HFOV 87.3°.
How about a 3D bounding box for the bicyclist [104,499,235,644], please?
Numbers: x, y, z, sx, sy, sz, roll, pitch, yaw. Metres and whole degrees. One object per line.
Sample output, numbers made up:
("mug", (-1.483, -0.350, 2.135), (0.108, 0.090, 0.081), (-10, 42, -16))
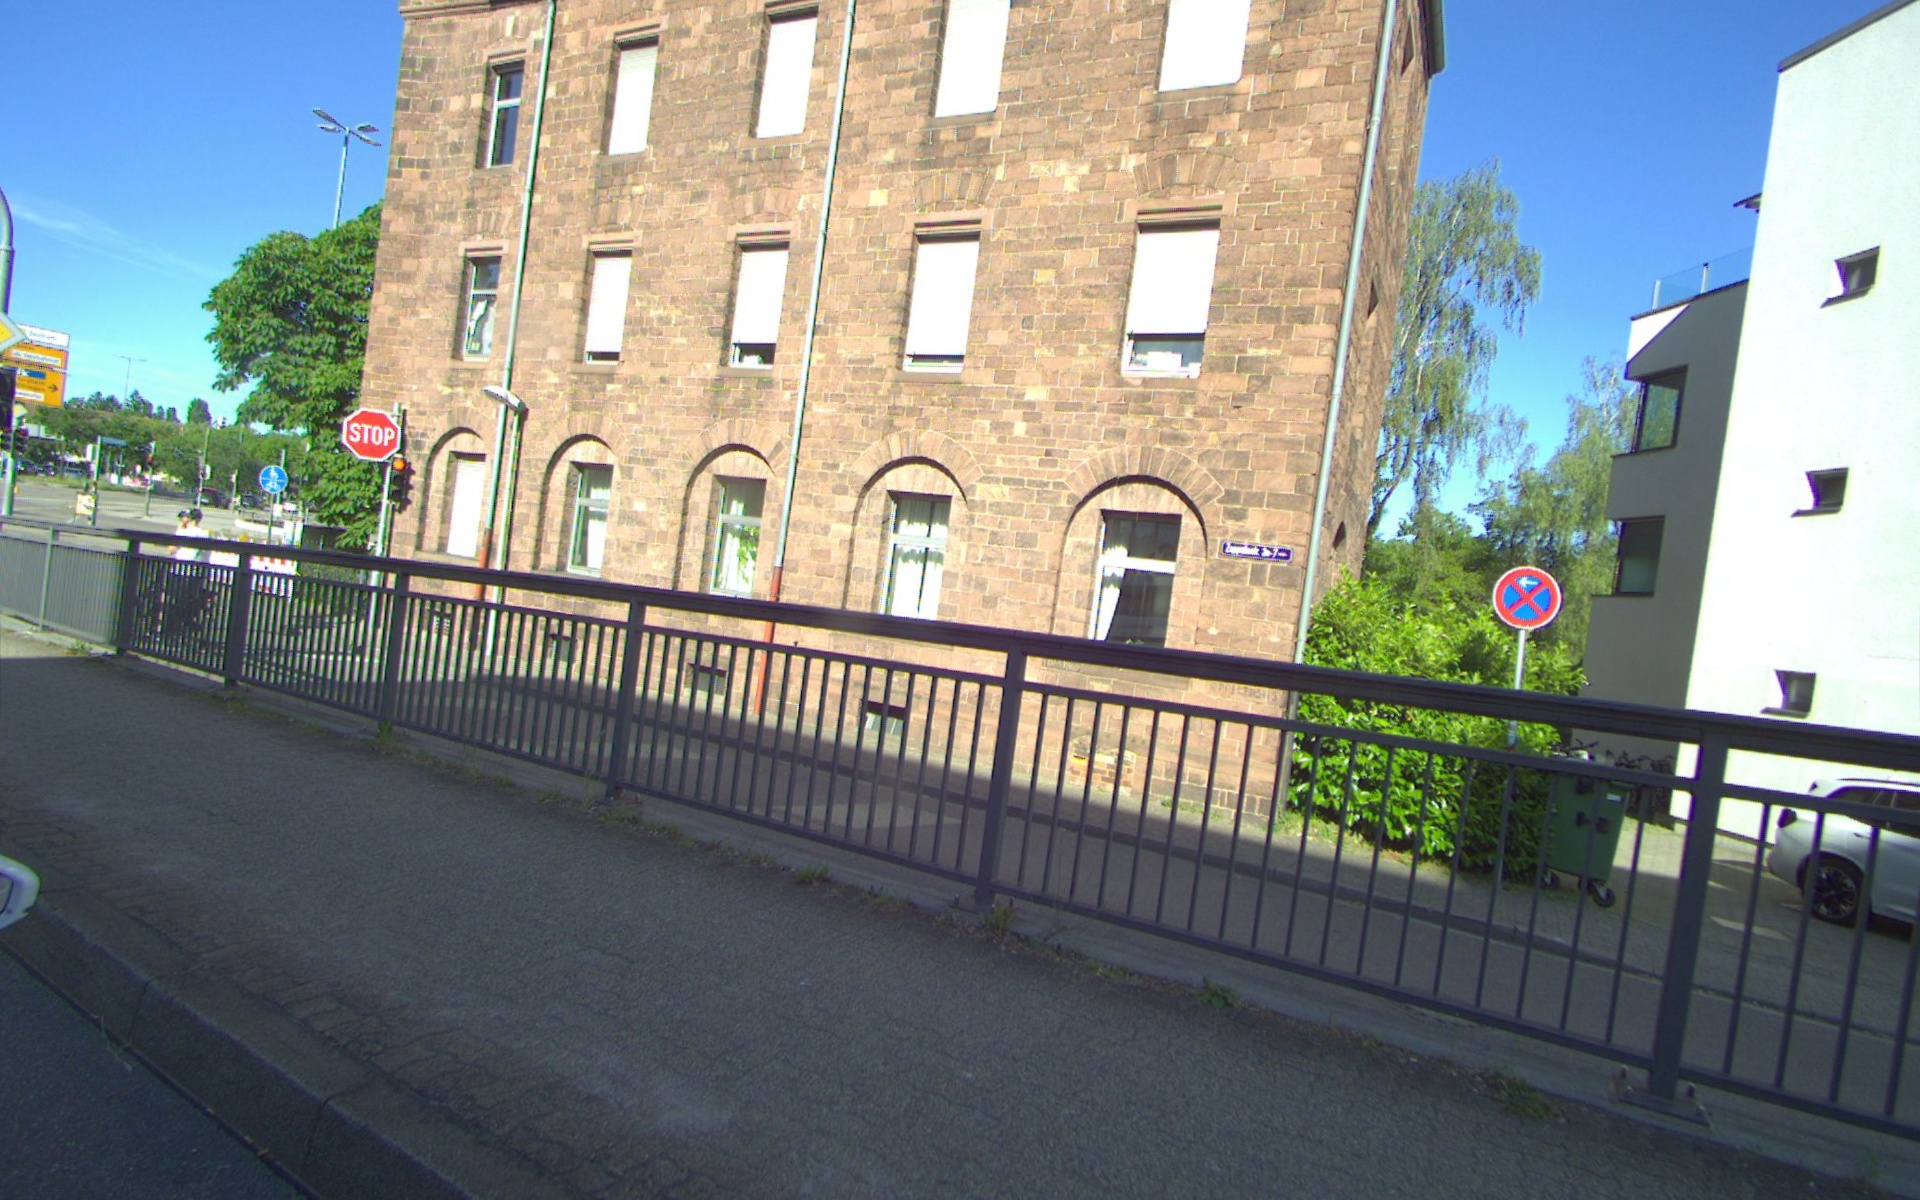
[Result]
("bicyclist", (-10.269, -0.365, 13.077), (1.066, 1.725, 0.802), (6, -1, 25))

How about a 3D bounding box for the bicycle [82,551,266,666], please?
("bicycle", (-10.224, 0.099, 13.063), (2.359, 1.124, 0.802), (8, 0, 25))

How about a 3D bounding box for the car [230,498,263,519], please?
("car", (-74.551, -9.556, 105.161), (1.975, 1.816, 3.974), (7, 1, -25))

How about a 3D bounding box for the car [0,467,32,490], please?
("car", (-79.267, -10.166, 84.050), (1.712, 1.602, 3.968), (7, 0, -32))

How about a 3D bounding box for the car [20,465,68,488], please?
("car", (-83.282, -11.213, 91.530), (1.976, 1.470, 3.976), (8, -1, -25))

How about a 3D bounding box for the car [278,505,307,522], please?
("car", (-81.445, -10.494, 122.806), (1.973, 1.660, 3.978), (7, 1, -22))

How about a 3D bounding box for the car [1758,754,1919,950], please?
("car", (10.982, 2.836, 10.006), (1.797, 1.788, 4.643), (7, -2, -9))

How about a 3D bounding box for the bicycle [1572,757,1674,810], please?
("bicycle", (13.204, 3.654, 20.029), (2.021, 0.897, 0.493), (5, 1, -19))

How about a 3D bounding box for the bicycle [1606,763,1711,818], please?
("bicycle", (13.385, 3.659, 19.274), (2.021, 0.897, 0.493), (5, 1, -19))

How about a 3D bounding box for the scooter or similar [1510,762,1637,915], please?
("scooter or similar", (6.247, 2.384, 10.323), (0.771, 1.232, 1.463), (8, -2, 24))

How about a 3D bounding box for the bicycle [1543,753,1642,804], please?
("bicycle", (12.974, 3.659, 20.634), (2.021, 0.897, 0.493), (5, 1, -19))

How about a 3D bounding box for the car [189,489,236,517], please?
("car", (-65.665, -8.516, 88.446), (1.971, 1.814, 3.986), (7, -2, -19))
